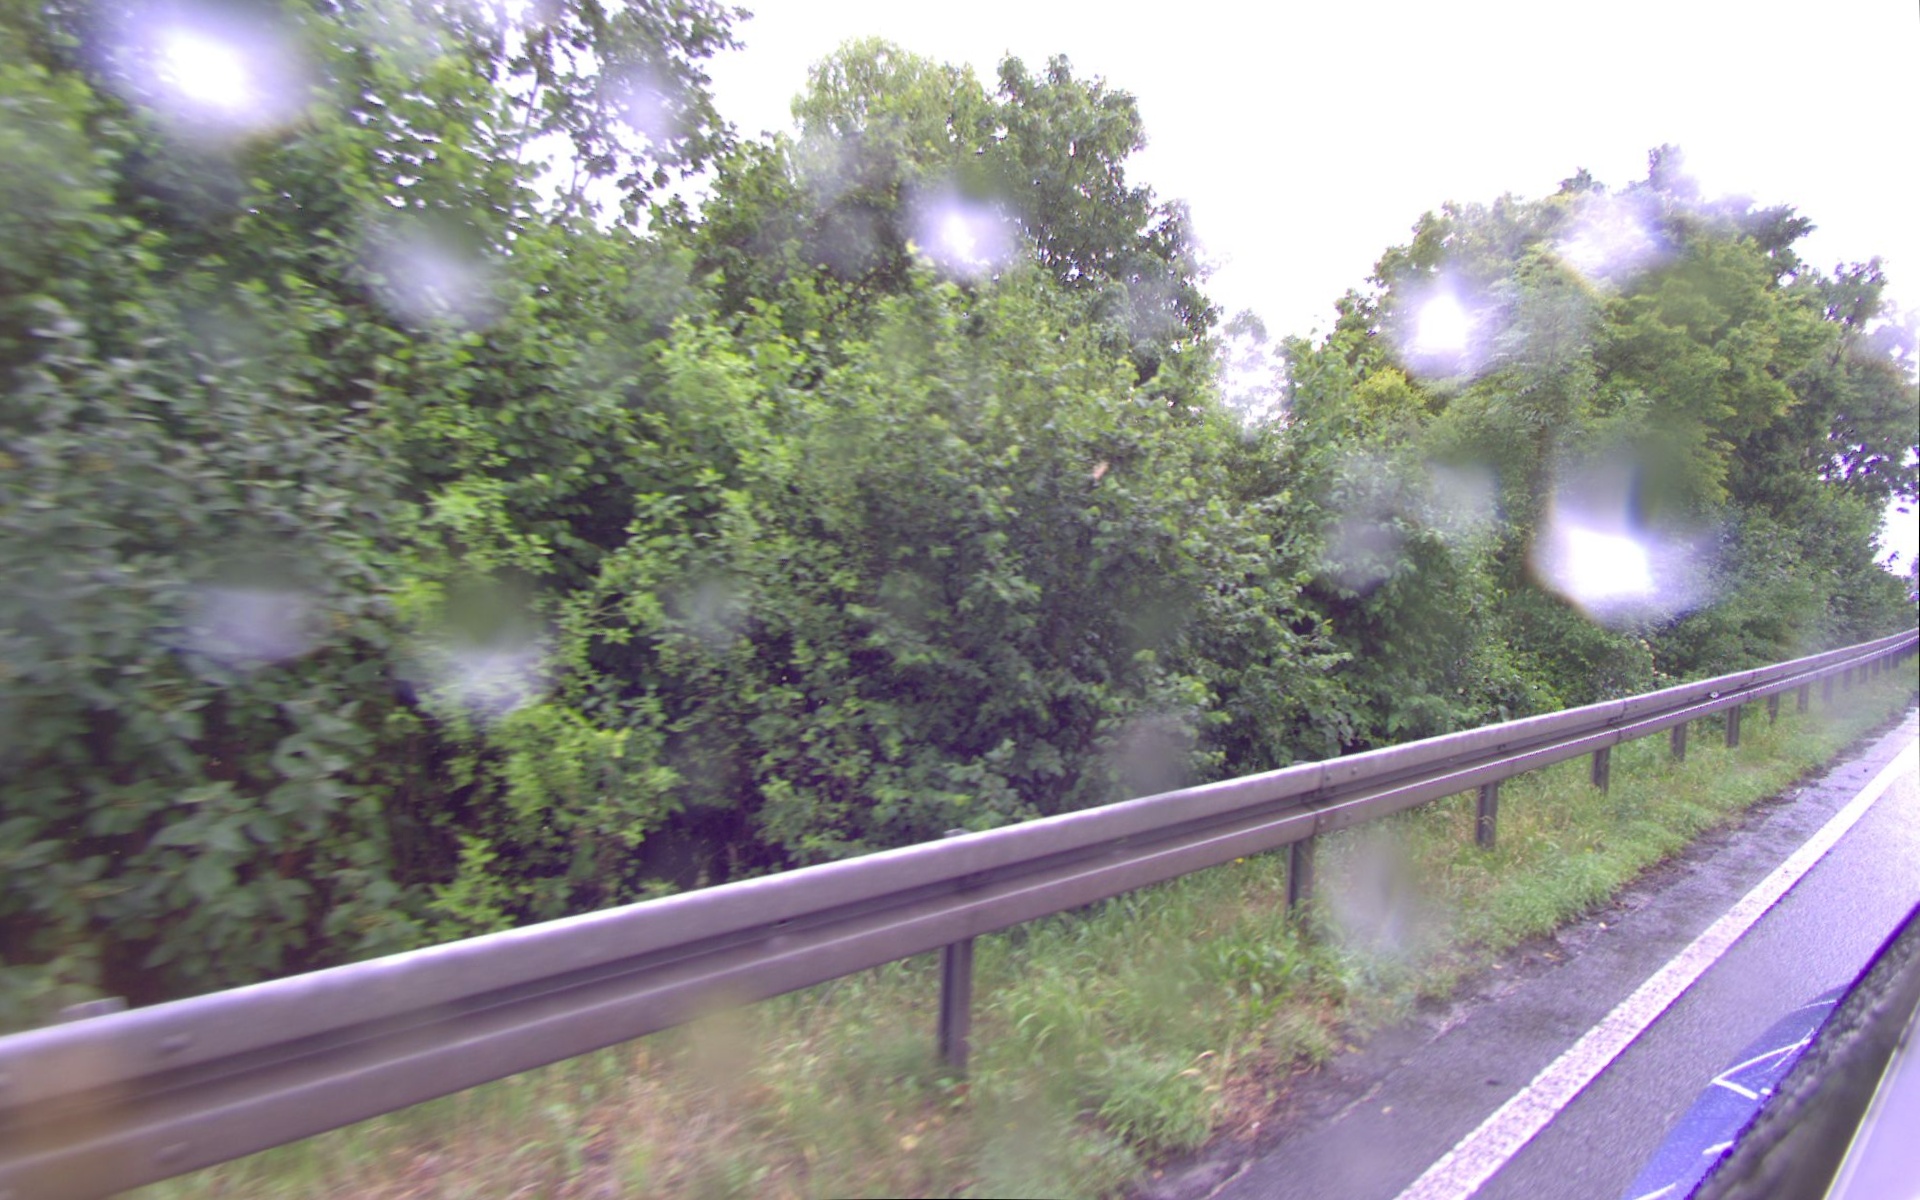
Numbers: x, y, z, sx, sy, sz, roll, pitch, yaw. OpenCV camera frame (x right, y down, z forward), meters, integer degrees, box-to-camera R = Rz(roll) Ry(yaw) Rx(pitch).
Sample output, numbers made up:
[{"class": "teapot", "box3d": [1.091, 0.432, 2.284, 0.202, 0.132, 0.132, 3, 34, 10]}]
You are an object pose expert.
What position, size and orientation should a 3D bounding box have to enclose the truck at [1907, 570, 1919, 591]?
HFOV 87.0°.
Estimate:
[{"class": "truck", "box3d": [138.728, -2.811, 146.086, 2.420, 3.037, 6.848, 0, 1, 39]}]
